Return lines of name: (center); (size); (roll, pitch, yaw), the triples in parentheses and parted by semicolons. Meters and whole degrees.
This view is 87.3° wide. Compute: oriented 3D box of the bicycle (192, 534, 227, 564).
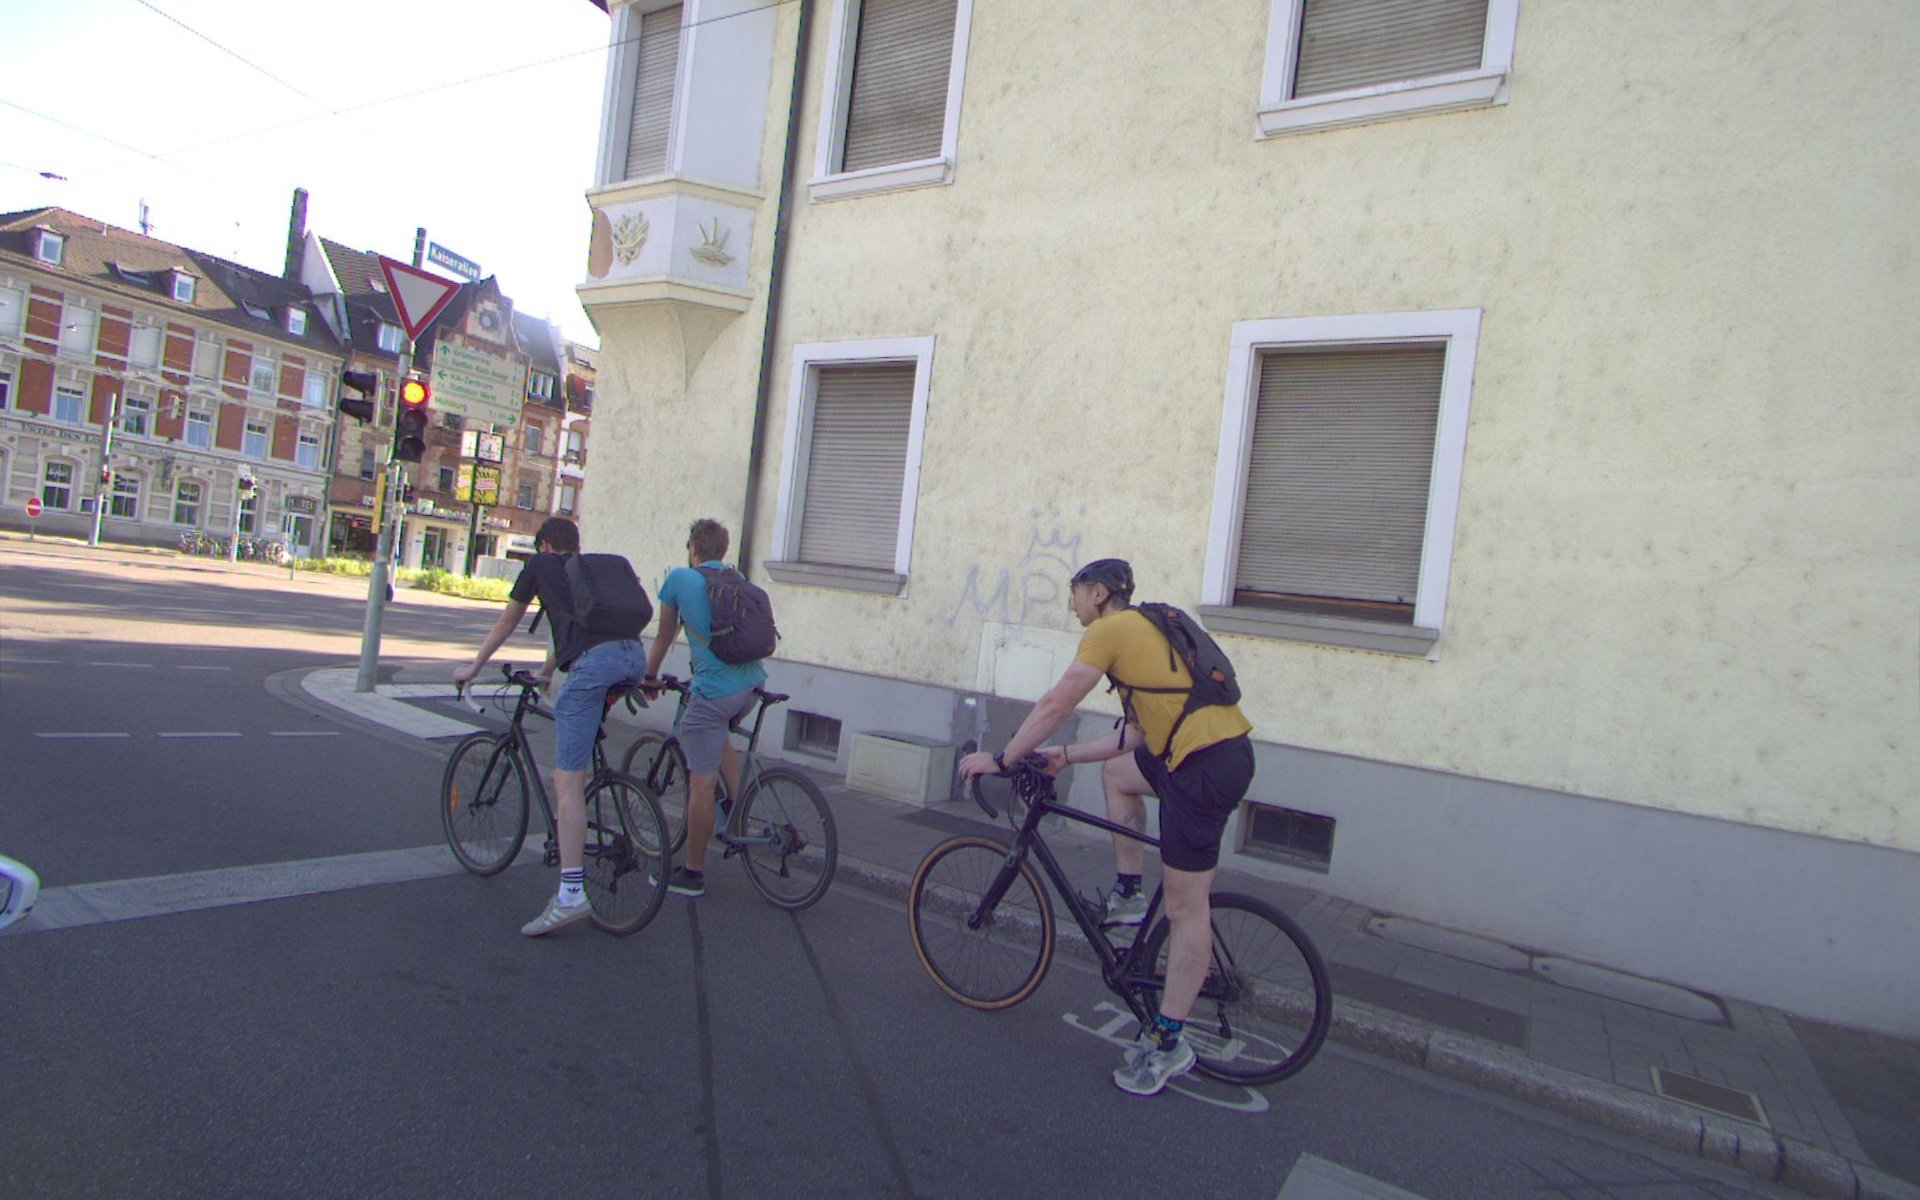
bicycle: (-34.531, -2.348, 46.282); (2.140, 1.157, 0.618); (7, 0, 37)

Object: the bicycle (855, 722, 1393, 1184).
bicycle: (0.556, 1.152, 3.761); (1.780, 1.101, 0.611); (7, 0, 32)

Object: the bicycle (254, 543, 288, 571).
bicycle: (-33.098, -2.059, 48.314); (2.102, 1.150, 0.609); (7, 0, 37)

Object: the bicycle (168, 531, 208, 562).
bicycle: (-35.045, -2.437, 45.679); (2.140, 1.157, 0.806); (7, 0, 37)

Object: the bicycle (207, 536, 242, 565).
bicycle: (-34.196, -2.300, 46.759); (2.140, 1.157, 0.618); (7, 0, 37)

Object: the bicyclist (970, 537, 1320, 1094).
bicyclist: (0.684, 0.703, 3.733); (0.939, 1.742, 0.582); (7, 0, 32)

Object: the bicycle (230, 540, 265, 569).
bicycle: (-33.663, -2.153, 47.510); (2.140, 1.157, 0.618); (7, 0, 37)

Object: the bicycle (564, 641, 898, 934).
bicycle: (-1.249, 0.891, 5.275); (1.784, 1.130, 0.519); (7, 0, 34)

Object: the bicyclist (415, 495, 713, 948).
bicyclist: (-1.798, 0.477, 4.540); (1.083, 1.775, 0.562); (7, 0, 34)

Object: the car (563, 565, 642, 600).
car: (-23.152, -1.114, 65.318); (2.116, 1.660, 4.340); (7, -1, 31)

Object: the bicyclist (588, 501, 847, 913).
bicyclist: (-1.265, 0.504, 5.241); (0.961, 1.917, 0.602); (6, -1, 34)

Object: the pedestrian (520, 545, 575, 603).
pedestrian: (-16.552, -1.031, 40.374); (1.285, 2.068, 1.321); (7, 0, 31)

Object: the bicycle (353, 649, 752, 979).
bicycle: (-1.910, 0.859, 4.586); (1.897, 1.023, 0.645); (7, 0, 34)
